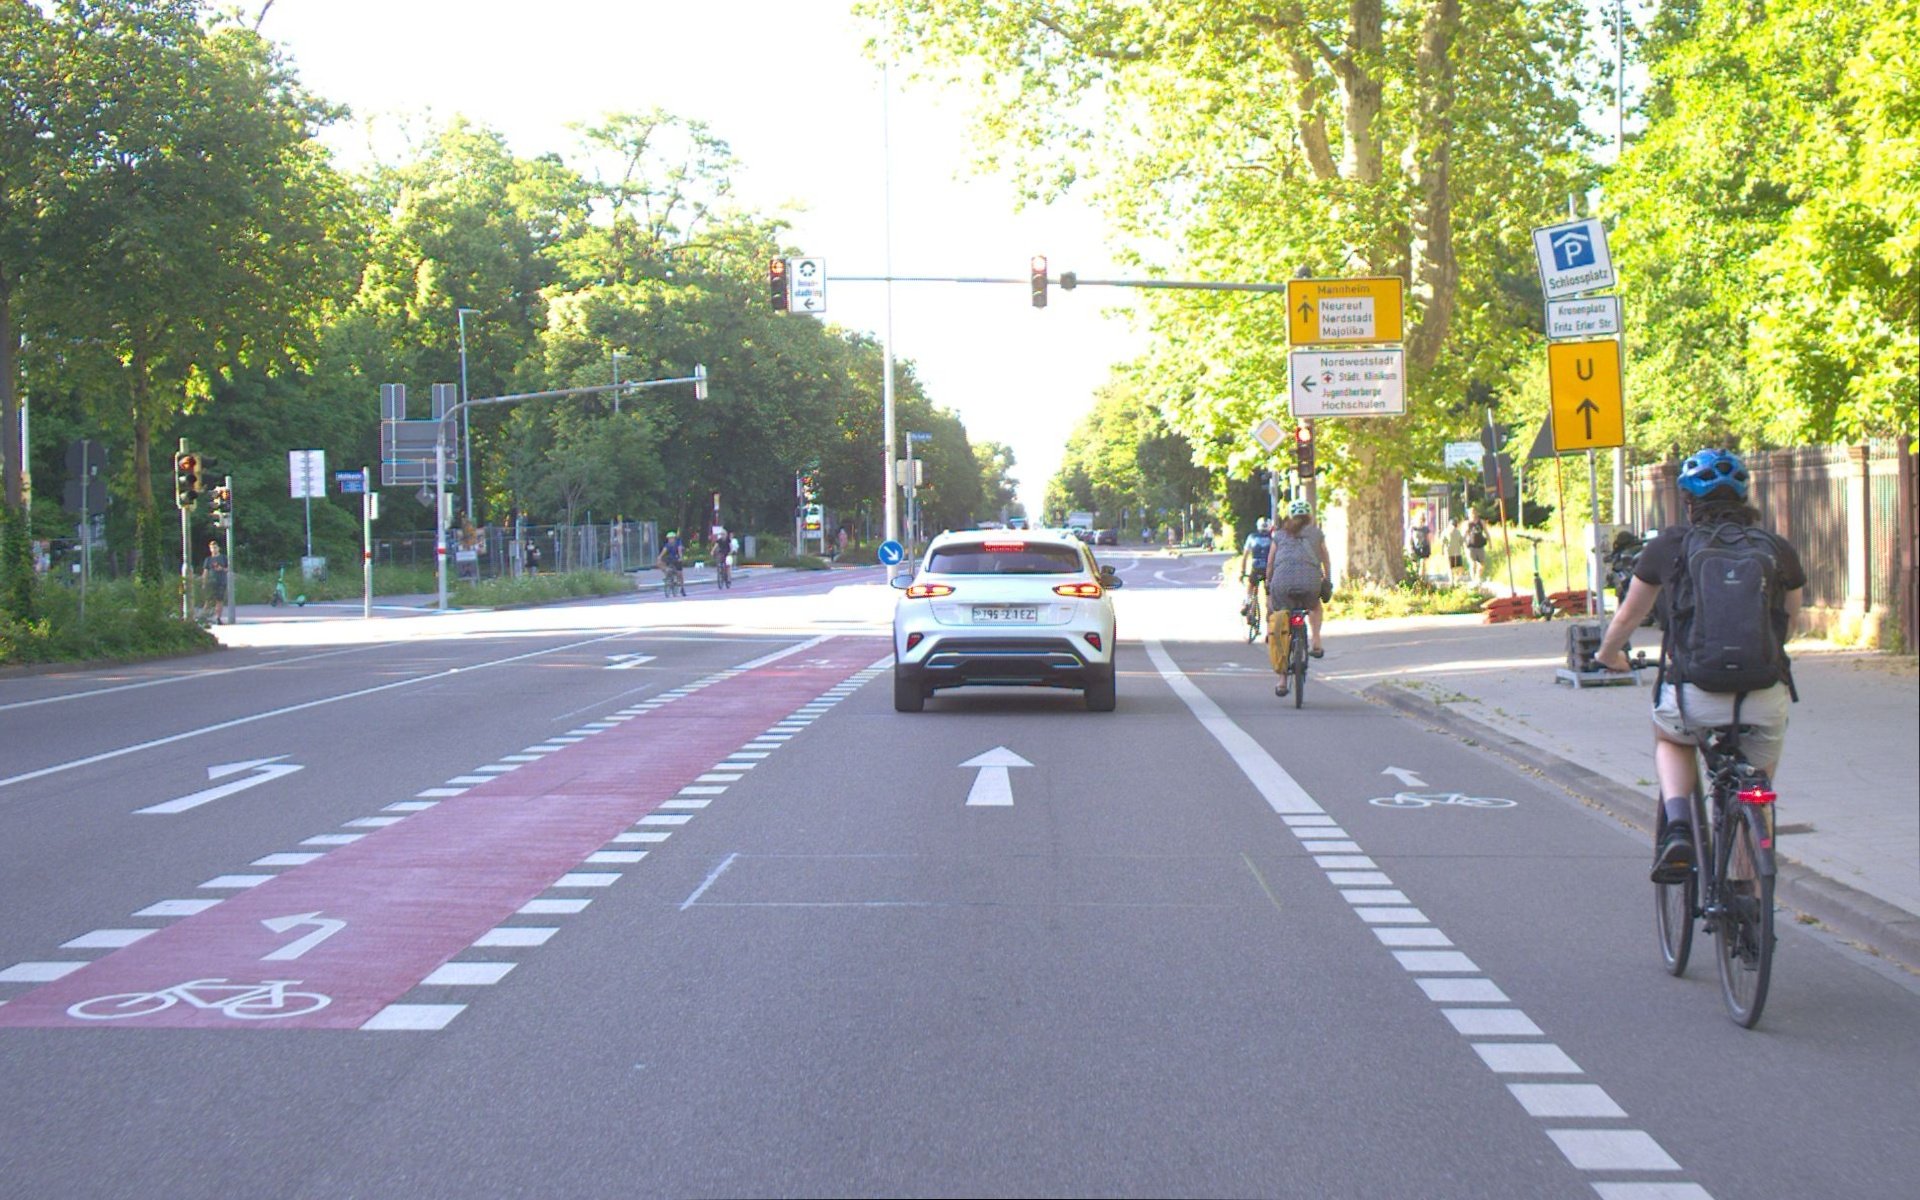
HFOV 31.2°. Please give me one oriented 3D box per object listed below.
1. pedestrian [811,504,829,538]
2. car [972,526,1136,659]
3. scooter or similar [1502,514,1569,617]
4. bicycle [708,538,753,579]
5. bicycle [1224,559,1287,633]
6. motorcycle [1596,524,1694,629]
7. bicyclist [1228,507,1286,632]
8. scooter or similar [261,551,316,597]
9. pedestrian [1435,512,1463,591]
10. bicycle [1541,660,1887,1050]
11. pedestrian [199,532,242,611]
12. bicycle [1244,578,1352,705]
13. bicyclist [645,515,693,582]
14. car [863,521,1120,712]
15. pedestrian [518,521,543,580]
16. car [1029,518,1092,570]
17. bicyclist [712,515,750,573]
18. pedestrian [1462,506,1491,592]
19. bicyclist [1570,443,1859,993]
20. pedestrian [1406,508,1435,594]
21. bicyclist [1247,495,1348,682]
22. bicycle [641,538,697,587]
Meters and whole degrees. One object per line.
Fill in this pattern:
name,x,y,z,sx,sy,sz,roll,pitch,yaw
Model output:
pedestrian,-9.005,-5.070,221.103,0.876,2.142,1.103,-2,1,11
car,1.168,-0.132,43.511,1.929,1.528,4.000,-2,1,1
scooter or similar,7.914,-0.487,47.294,0.566,1.378,1.856,-2,1,0
bicycle,-6.955,-1.276,104.385,0.964,1.177,2.951,-2,1,3
bicycle,4.158,-0.063,48.420,0.753,1.022,1.869,0,1,1
motorcycle,8.056,-0.297,40.513,0.662,1.163,2.327,-4,1,1
bicyclist,4.167,-0.433,48.236,0.749,1.744,0.843,0,1,1
scooter or similar,-17.457,-0.676,89.396,0.511,1.140,1.699,-1,1,23
pedestrian,10.466,-1.044,73.624,0.482,1.634,0.432,-4,4,8
bicycle,2.340,0.748,10.931,0.643,1.021,2.212,0,1,1
pedestrian,-17.265,-0.665,80.296,0.687,1.786,0.769,-4,2,1
bicycle,2.820,0.331,28.843,0.753,1.022,1.869,0,1,1
bicyclist,-7.882,-1.401,93.216,1.092,1.748,1.097,-2,1,3
car,0.291,0.086,29.246,1.993,1.448,4.000,-2,1,1
pedestrian,-13.874,-1.591,111.064,0.651,1.881,0.662,-2,1,4
car,3.198,-1.783,108.816,1.737,1.541,4.000,-1,2,5
bicyclist,-6.962,-1.709,104.514,0.956,1.699,1.232,-2,1,3
pedestrian,11.156,-1.102,74.220,0.482,1.786,0.432,-4,4,8
bicyclist,2.325,0.333,10.717,0.636,1.609,1.284,0,1,1
pedestrian,9.856,-1.050,73.548,0.482,1.786,0.432,-4,4,8
bicyclist,2.821,-0.109,28.809,0.747,1.532,0.969,-1,1,1
bicycle,-7.869,-1.035,93.162,1.102,1.250,2.779,-2,1,3
